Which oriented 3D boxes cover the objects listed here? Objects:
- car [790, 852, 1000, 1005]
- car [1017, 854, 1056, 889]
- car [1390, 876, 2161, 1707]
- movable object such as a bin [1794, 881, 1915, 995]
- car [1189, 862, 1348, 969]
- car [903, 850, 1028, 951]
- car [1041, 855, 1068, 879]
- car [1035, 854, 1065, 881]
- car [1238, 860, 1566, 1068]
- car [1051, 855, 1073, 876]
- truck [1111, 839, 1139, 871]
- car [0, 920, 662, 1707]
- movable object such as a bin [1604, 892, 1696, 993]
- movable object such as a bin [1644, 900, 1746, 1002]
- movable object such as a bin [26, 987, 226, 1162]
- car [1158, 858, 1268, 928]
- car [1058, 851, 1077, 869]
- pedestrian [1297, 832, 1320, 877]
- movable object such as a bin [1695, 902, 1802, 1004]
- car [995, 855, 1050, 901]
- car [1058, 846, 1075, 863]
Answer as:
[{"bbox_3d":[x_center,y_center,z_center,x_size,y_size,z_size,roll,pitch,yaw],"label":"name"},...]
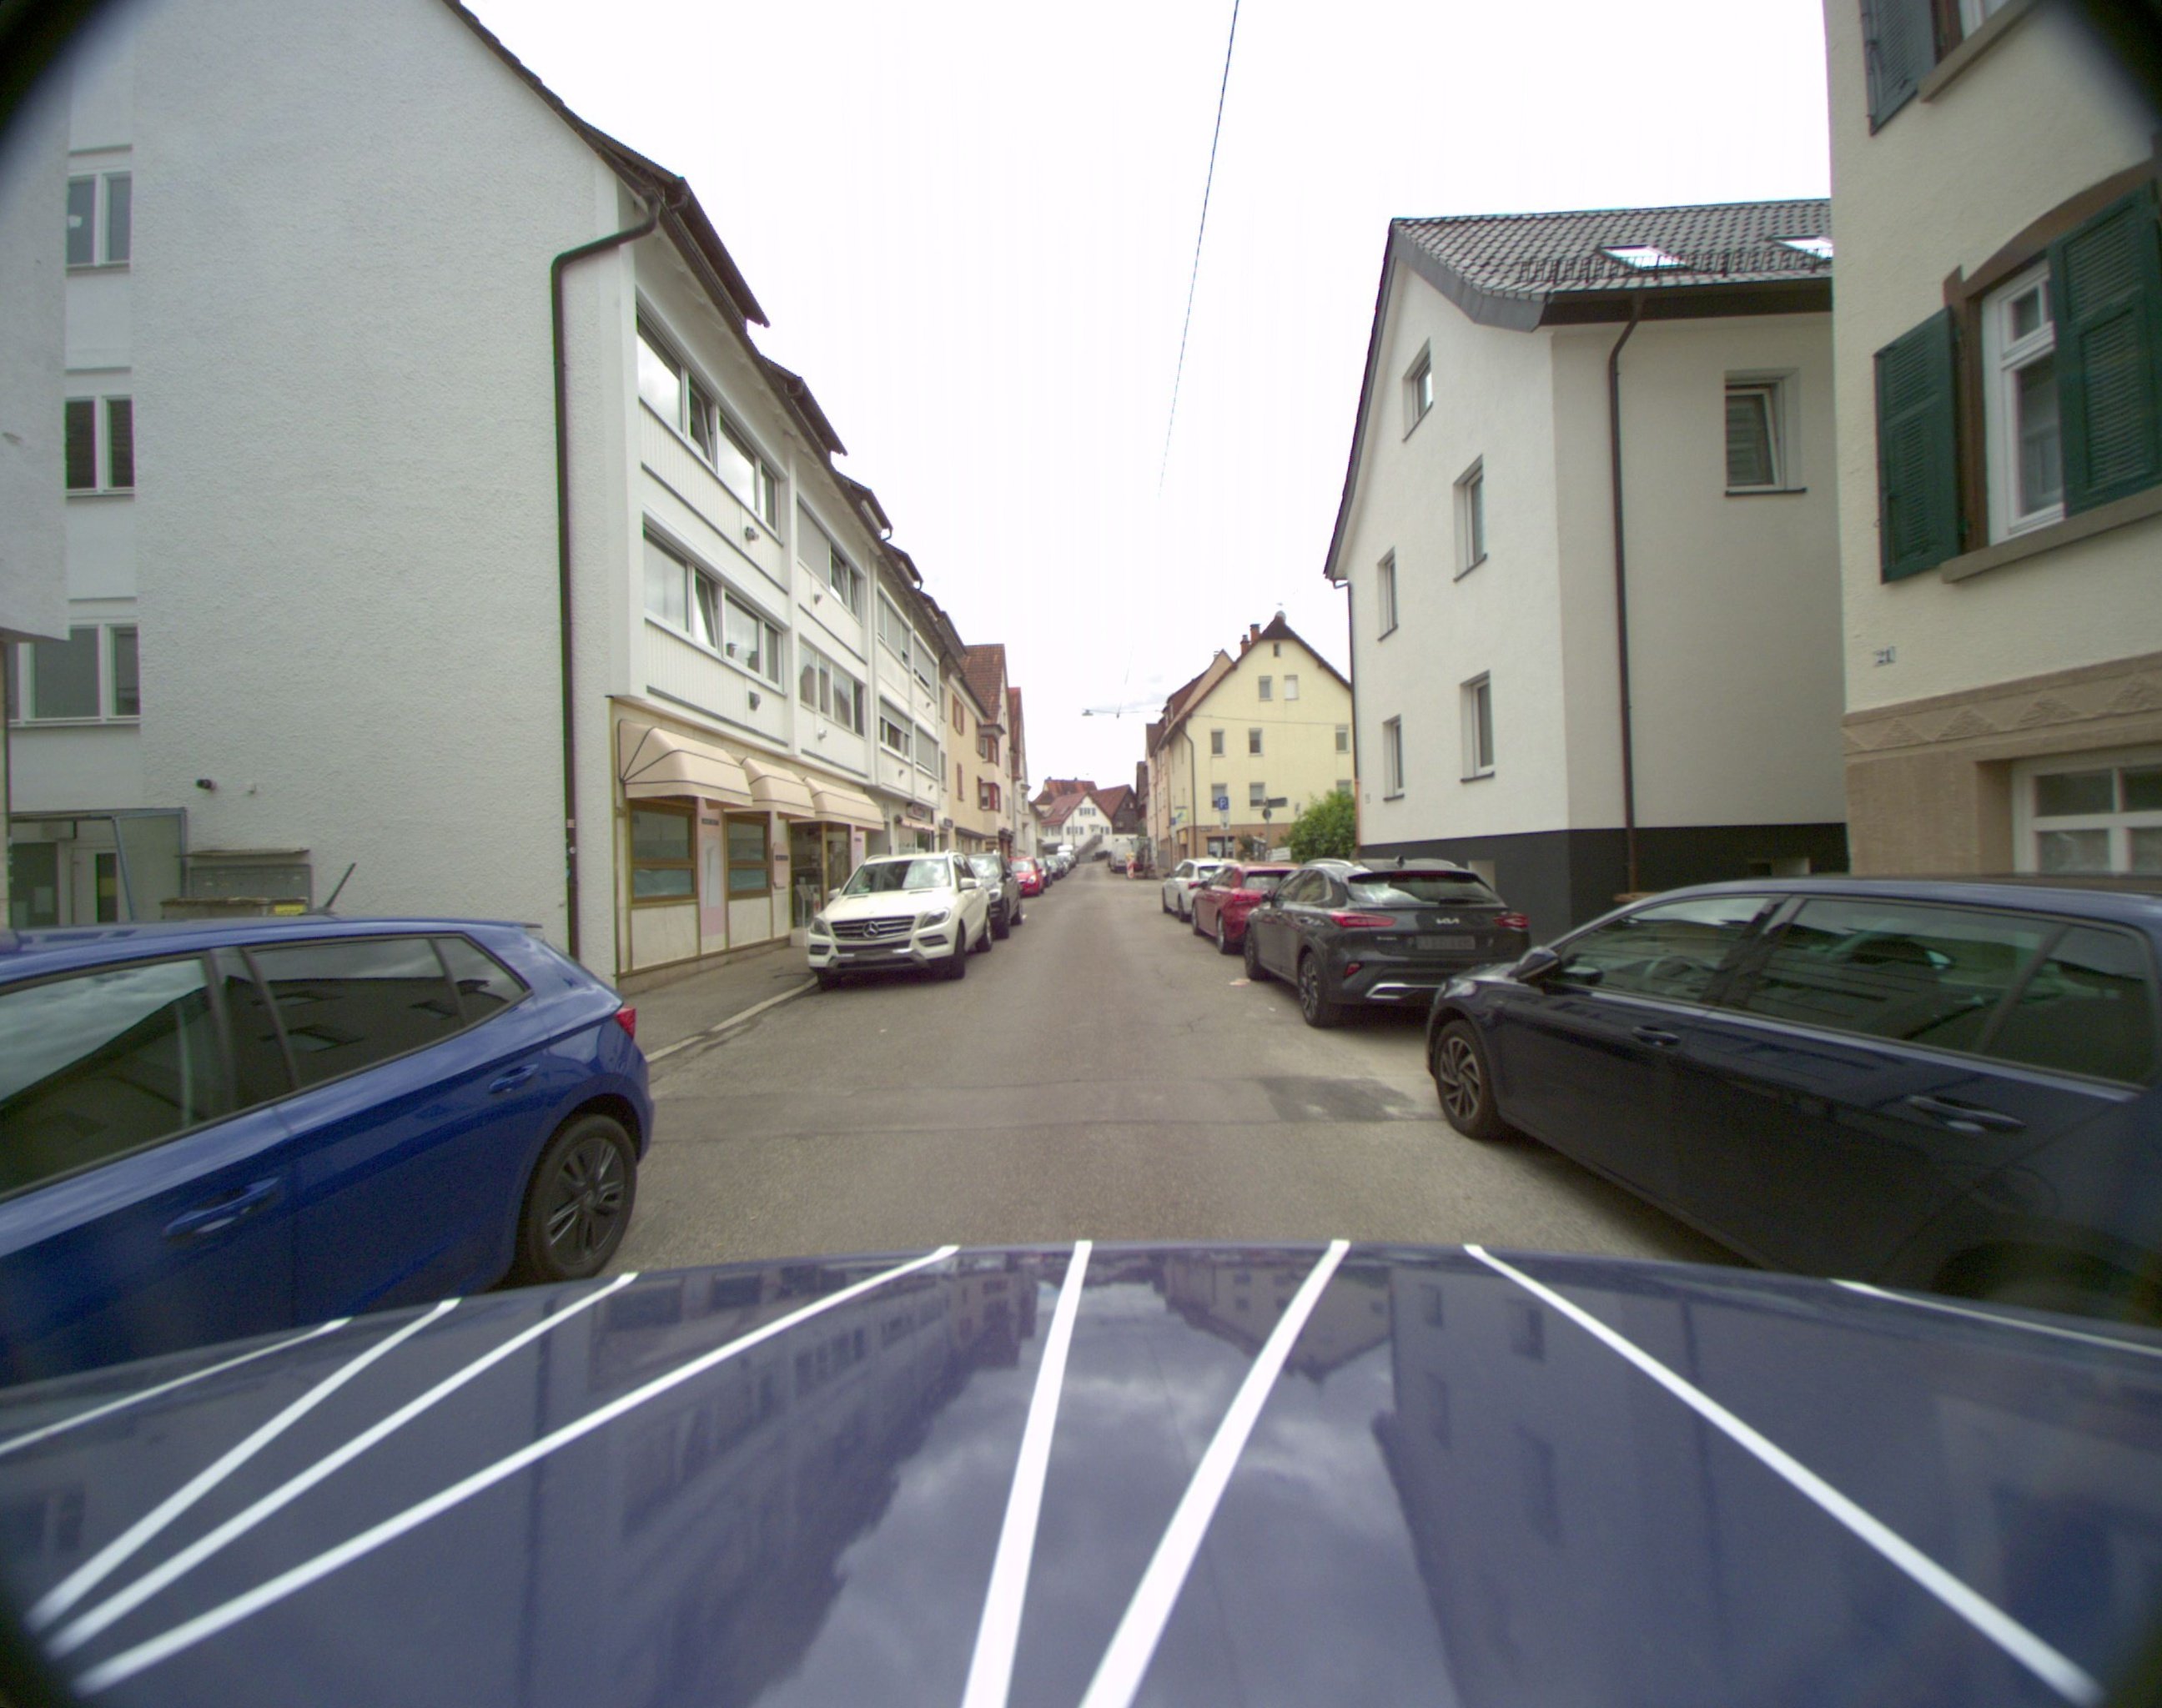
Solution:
[{"bbox_3d":[-2.466,0.889,11.334,1.900,1.695,4.493,-3,1,1],"label":"car"},{"bbox_3d":[-2.207,0.835,38.537,1.606,1.519,3.988,-5,1,1],"label":"car"},{"bbox_3d":[2.845,0.905,2.761,1.756,1.447,4.370,1,1,2],"label":"car"},{"bbox_3d":[7.893,0.832,7.777,0.515,1.080,0.668,-3,0,1],"label":"movable object such as a bin"},{"bbox_3d":[3.006,0.916,13.046,1.756,1.441,4.066,1,1,1],"label":"car"},{"bbox_3d":[-2.300,0.854,16.341,1.900,1.779,4.343,-2,1,1],"label":"car"},{"bbox_3d":[-1.853,0.896,53.137,1.606,1.464,3.551,-5,1,1],"label":"car"},{"bbox_3d":[-1.907,0.805,48.019,1.606,1.464,3.988,-5,1,1],"label":"car"},{"bbox_3d":[2.892,0.863,7.900,1.756,1.501,4.084,1,1,2],"label":"car"},{"bbox_3d":[-1.552,0.936,63.710,1.606,1.464,3.551,-5,1,1],"label":"car"},{"bbox_3d":[3.409,0.048,59.642,1.784,2.378,5.484,-2,1,0],"label":"truck"},{"bbox_3d":[-2.758,1.069,1.328,1.756,1.424,3.928,-3,1,1],"label":"car"},{"bbox_3d":[6.187,0.946,8.286,0.515,1.009,0.604,-3,0,1],"label":"movable object such as a bin"},{"bbox_3d":[6.166,0.958,7.656,0.515,0.926,0.604,-3,0,1],"label":"movable object such as a bin"},{"bbox_3d":[-5.853,1.329,4.685,0.570,0.924,0.521,1,0,1],"label":"movable object such as a bin"},{"bbox_3d":[3.065,0.846,18.543,1.756,1.423,4.348,1,1,-2],"label":"car"},{"bbox_3d":[-1.267,0.569,73.930,1.606,1.464,3.551,-5,1,1],"label":"car"},{"bbox_3d":[8.413,0.016,28.138,0.548,1.624,0.626,-3,4,-9],"label":"pedestrian"},{"bbox_3d":[6.704,0.977,7.658,0.515,0.926,0.604,-3,0,1],"label":"movable object such as a bin"},{"bbox_3d":[-2.286,0.897,30.526,1.673,1.519,3.988,-5,1,2],"label":"car"},{"bbox_3d":[-1.567,0.009,83.391,1.606,1.716,3.551,-5,1,1],"label":"car"}]
